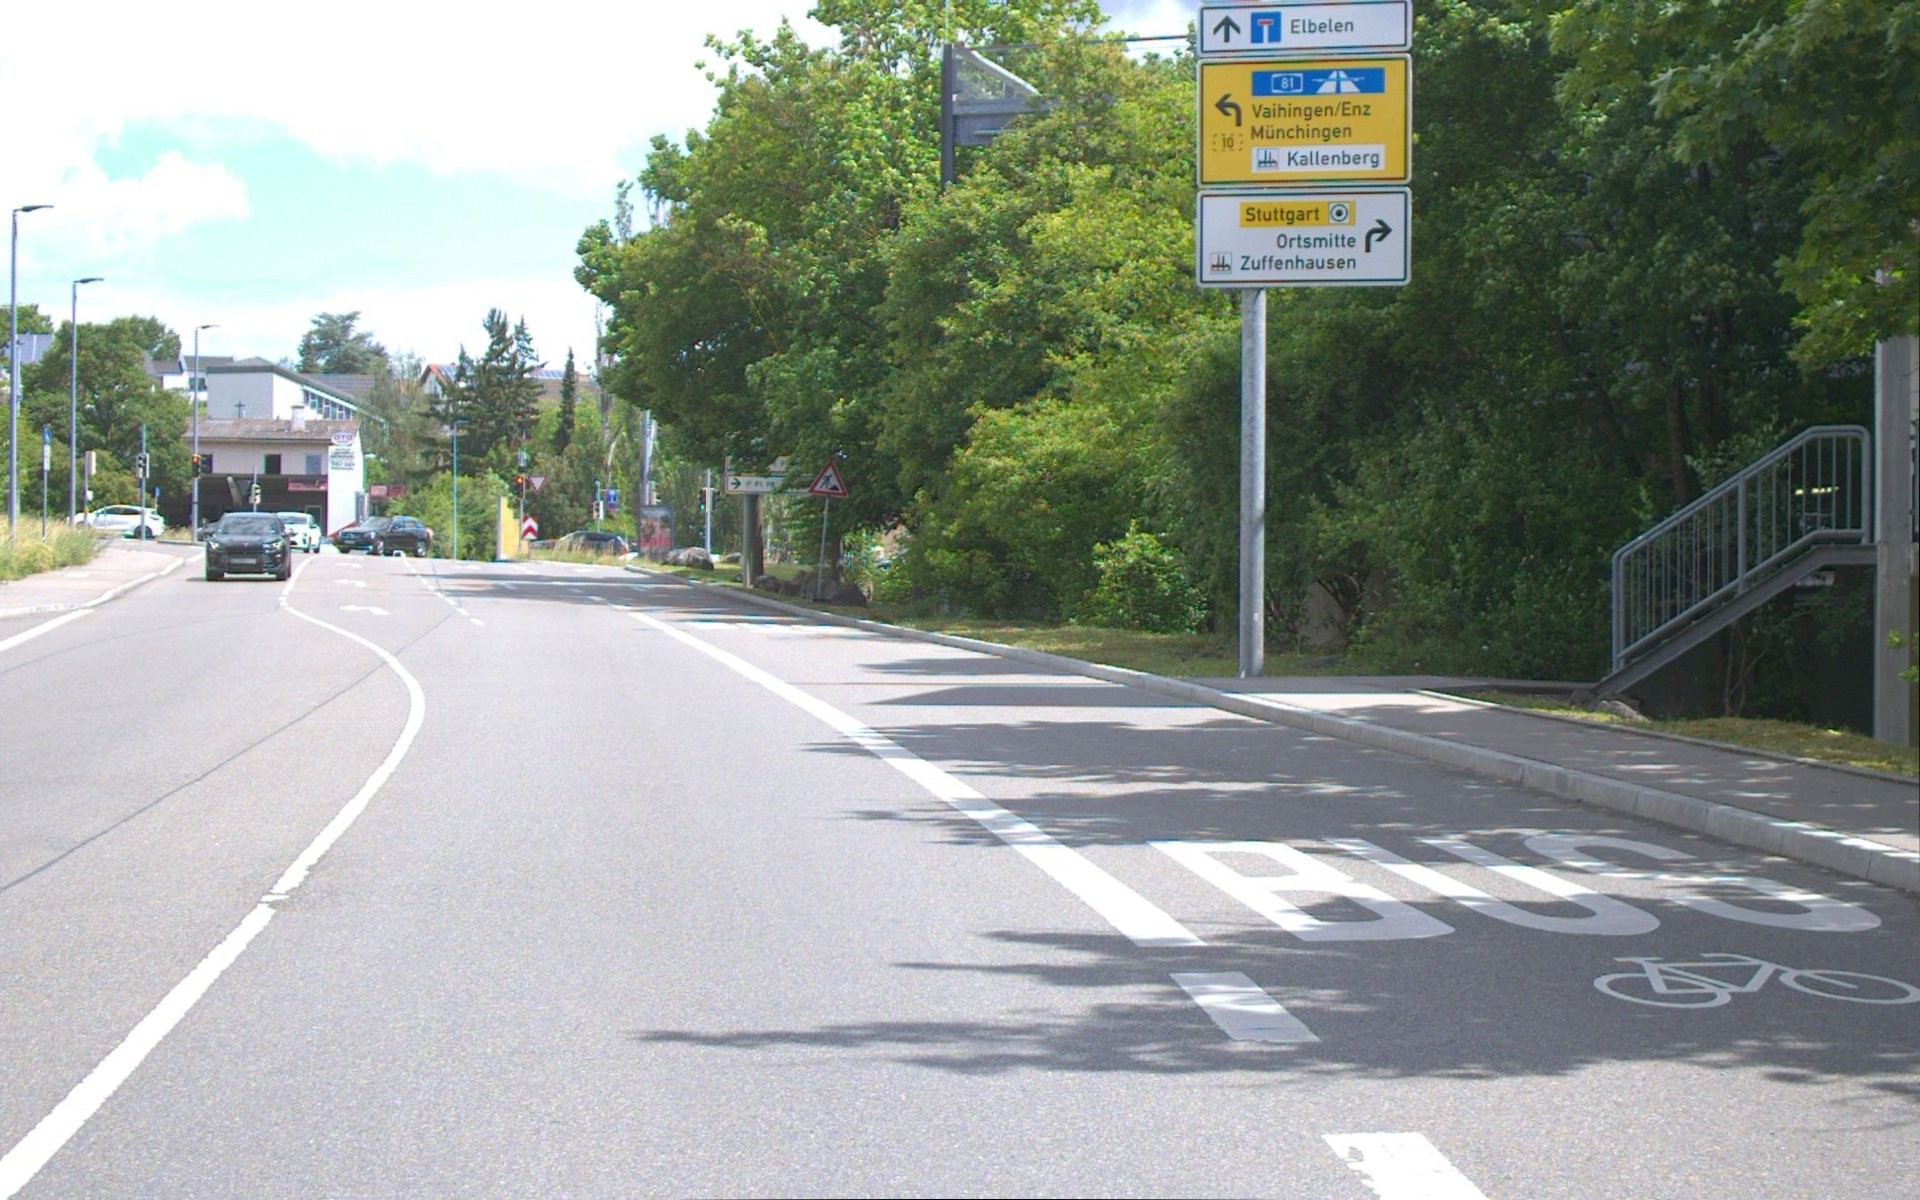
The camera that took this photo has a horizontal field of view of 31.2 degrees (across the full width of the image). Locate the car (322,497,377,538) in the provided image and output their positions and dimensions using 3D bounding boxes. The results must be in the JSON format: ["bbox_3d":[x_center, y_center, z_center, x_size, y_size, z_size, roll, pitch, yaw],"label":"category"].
[{"bbox_3d":[-24.981,-3.367,140.736,1.820,1.648,4.534,0,1,-5],"label":"car"}]

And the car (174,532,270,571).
[{"bbox_3d":[-33.223,-2.183,154.821,3.986,1.706,1.895,-1,1,-3],"label":"car"}]

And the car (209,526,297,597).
[{"bbox_3d":[-16.710,-0.933,81.119,1.822,1.552,4.631,-1,2,-14],"label":"car"}]

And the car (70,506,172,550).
[{"bbox_3d":[-36.795,-3.161,150.848,3.987,1.897,2.000,-1,1,-1],"label":"car"}]

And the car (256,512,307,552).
[{"bbox_3d":[-24.871,-2.489,126.078,1.765,1.437,3.901,-1,1,-11],"label":"car"}]

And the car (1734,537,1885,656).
[{"bbox_3d":[13.493,-0.068,54.791,1.877,1.793,3.705,-1,0,7],"label":"car"}]
